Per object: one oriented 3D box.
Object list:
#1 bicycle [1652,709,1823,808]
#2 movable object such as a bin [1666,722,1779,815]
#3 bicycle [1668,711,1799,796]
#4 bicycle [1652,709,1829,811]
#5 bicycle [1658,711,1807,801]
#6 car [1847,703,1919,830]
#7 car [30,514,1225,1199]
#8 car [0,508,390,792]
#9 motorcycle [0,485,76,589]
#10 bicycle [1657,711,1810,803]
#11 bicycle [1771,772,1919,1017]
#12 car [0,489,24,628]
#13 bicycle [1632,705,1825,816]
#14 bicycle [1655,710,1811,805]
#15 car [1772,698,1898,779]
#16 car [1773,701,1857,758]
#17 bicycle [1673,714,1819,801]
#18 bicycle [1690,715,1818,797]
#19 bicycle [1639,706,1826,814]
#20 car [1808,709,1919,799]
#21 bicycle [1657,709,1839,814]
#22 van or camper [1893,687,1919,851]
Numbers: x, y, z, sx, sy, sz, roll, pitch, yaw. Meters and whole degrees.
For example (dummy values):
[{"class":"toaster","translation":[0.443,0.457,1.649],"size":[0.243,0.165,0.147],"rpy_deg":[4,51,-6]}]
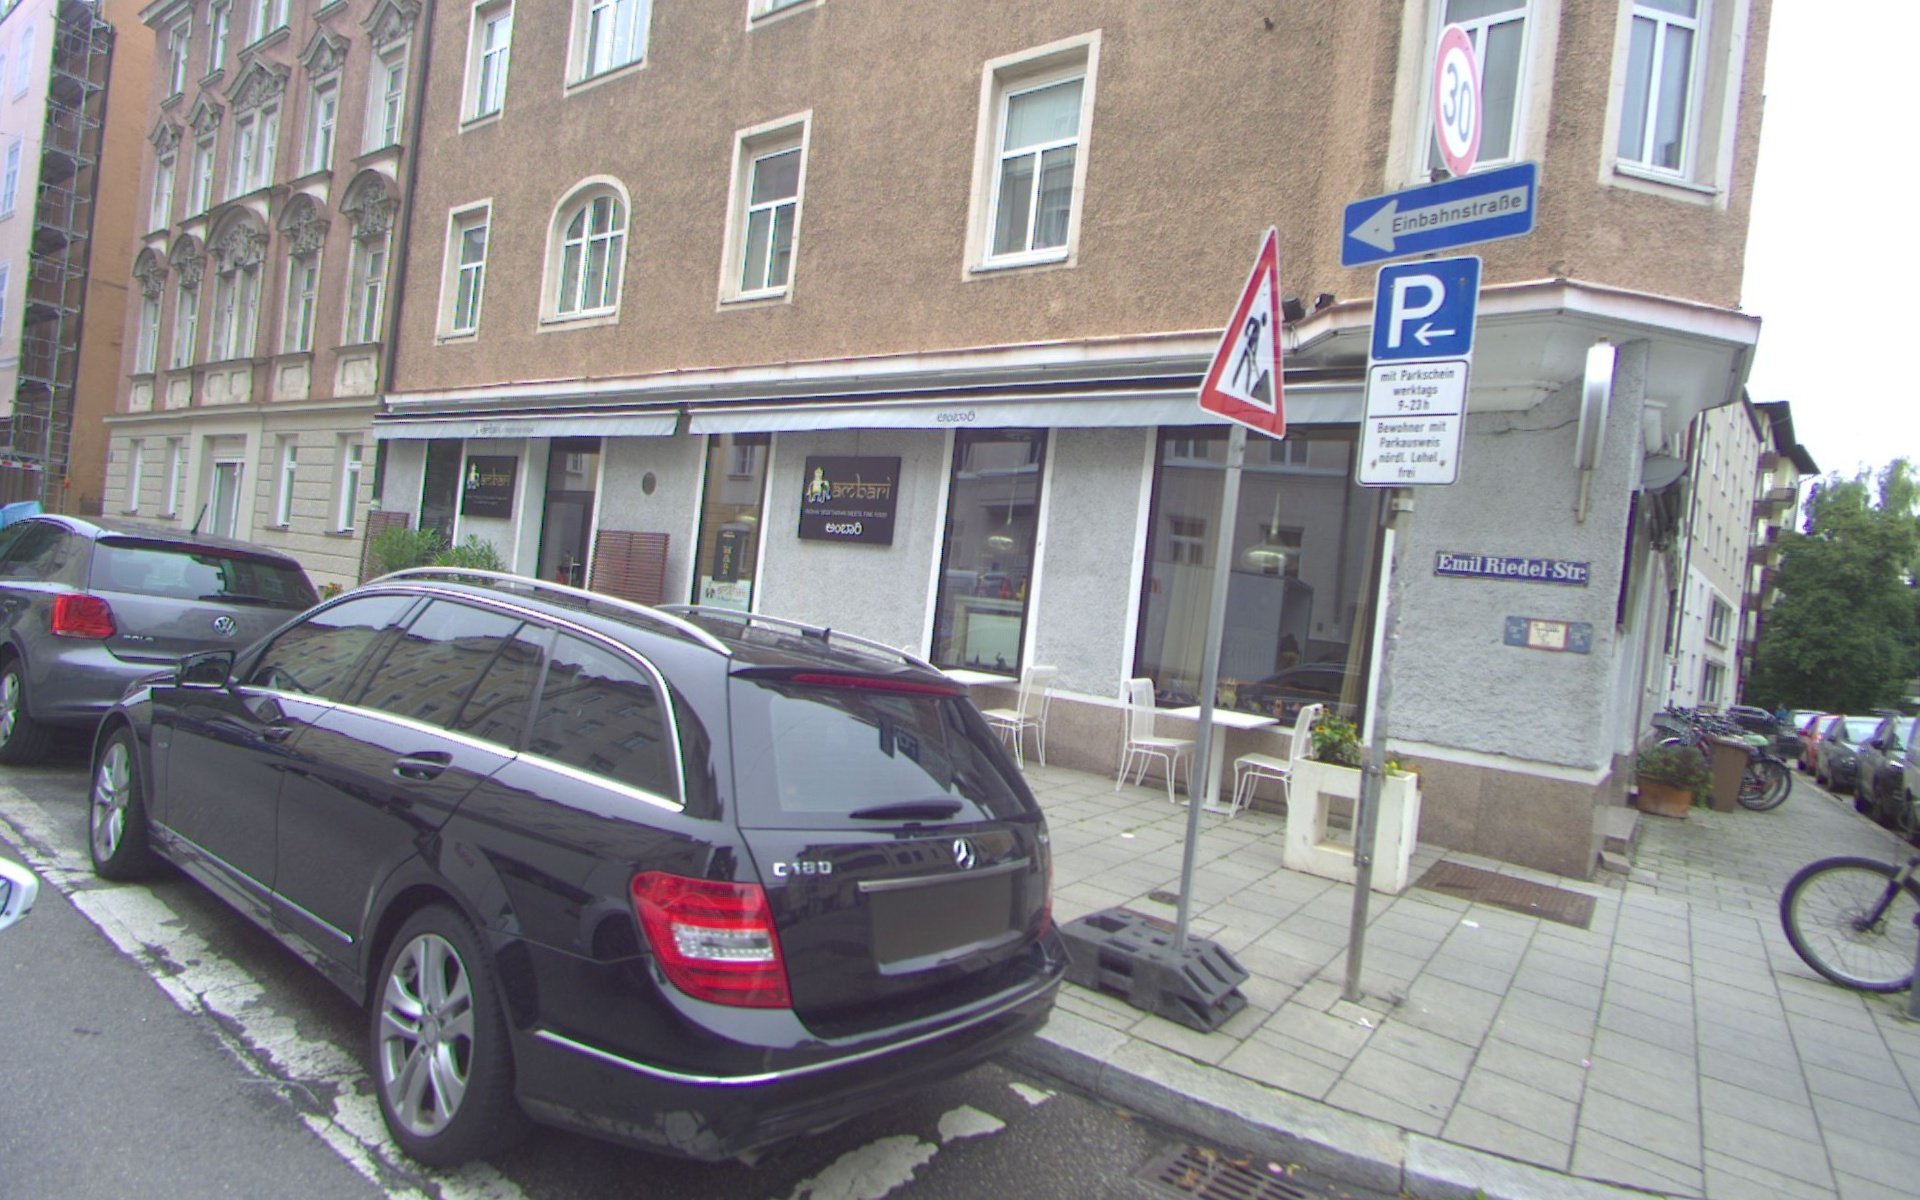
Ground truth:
[{"class":"bicycle","translation":[11.595,2.351,15.066],"size":[1.893,1.158,0.417],"rpy_deg":[6,1,20]},{"class":"movable object such as a bin","translation":[9.812,2.155,12.984],"size":[0.952,0.962,0.733],"rpy_deg":[7,1,28]},{"class":"bicycle","translation":[14.282,2.827,18.611],"size":[1.766,1.275,0.417],"rpy_deg":[6,1,20]},{"class":"bicycle","translation":[11.294,2.296,14.613],"size":[1.893,1.158,0.417],"rpy_deg":[6,1,20]},{"class":"bicycle","translation":[12.458,2.507,16.276],"size":[1.766,1.158,0.417],"rpy_deg":[6,1,20]},{"class":"car","translation":[15.086,2.562,15.316],"size":[1.949,1.664,3.982],"rpy_deg":[6,0,37]},{"class":"car","translation":[-1.648,0.606,3.868],"size":[4.713,1.422,1.847],"rpy_deg":[6,-1,36]},{"class":"car","translation":[-5.825,0.162,6.936],"size":[4.116,1.412,1.573],"rpy_deg":[6,0,34]},{"class":"motorcycle","translation":[-15.389,-1.055,16.484],"size":[1.967,1.523,0.871],"rpy_deg":[6,0,37]},{"class":"bicycle","translation":[12.169,2.455,15.871],"size":[1.766,1.158,0.417],"rpy_deg":[6,1,20]},{"class":"bicycle","translation":[5.030,1.522,4.731],"size":[1.776,1.019,0.495],"rpy_deg":[8,3,38]},{"class":"car","translation":[-13.701,-0.798,12.393],"size":[5.547,1.571,1.932],"rpy_deg":[6,-1,34]},{"class":"bicycle","translation":[10.221,2.116,13.448],"size":[1.893,1.158,0.475],"rpy_deg":[6,1,20]},{"class":"bicycle","translation":[11.911,2.410,15.544],"size":[1.766,1.158,0.417],"rpy_deg":[6,1,20]},{"class":"car","translation":[22.506,3.494,26.054],"size":[1.948,1.588,4.653],"rpy_deg":[6,0,36]},{"class":"car","translation":[30.446,4.545,35.942],"size":[1.949,1.588,4.651],"rpy_deg":[6,0,38]},{"class":"bicycle","translation":[13.020,2.594,16.702],"size":[1.766,1.158,0.417],"rpy_deg":[6,1,20]},{"class":"bicycle","translation":[15.123,2.957,19.206],"size":[1.766,1.275,0.417],"rpy_deg":[6,1,20]},{"class":"bicycle","translation":[10.604,2.180,13.879],"size":[1.893,1.158,0.475],"rpy_deg":[6,1,20]},{"class":"car","translation":[19.435,3.228,21.318],"size":[1.949,1.521,4.653],"rpy_deg":[6,-1,38]},{"class":"bicycle","translation":[11.086,2.255,14.222],"size":[1.893,1.158,0.417],"rpy_deg":[6,1,20]},{"class":"van or camper","translation":[11.933,2.004,10.966],"size":[1.932,1.942,4.899],"rpy_deg":[4,-2,37]}]
